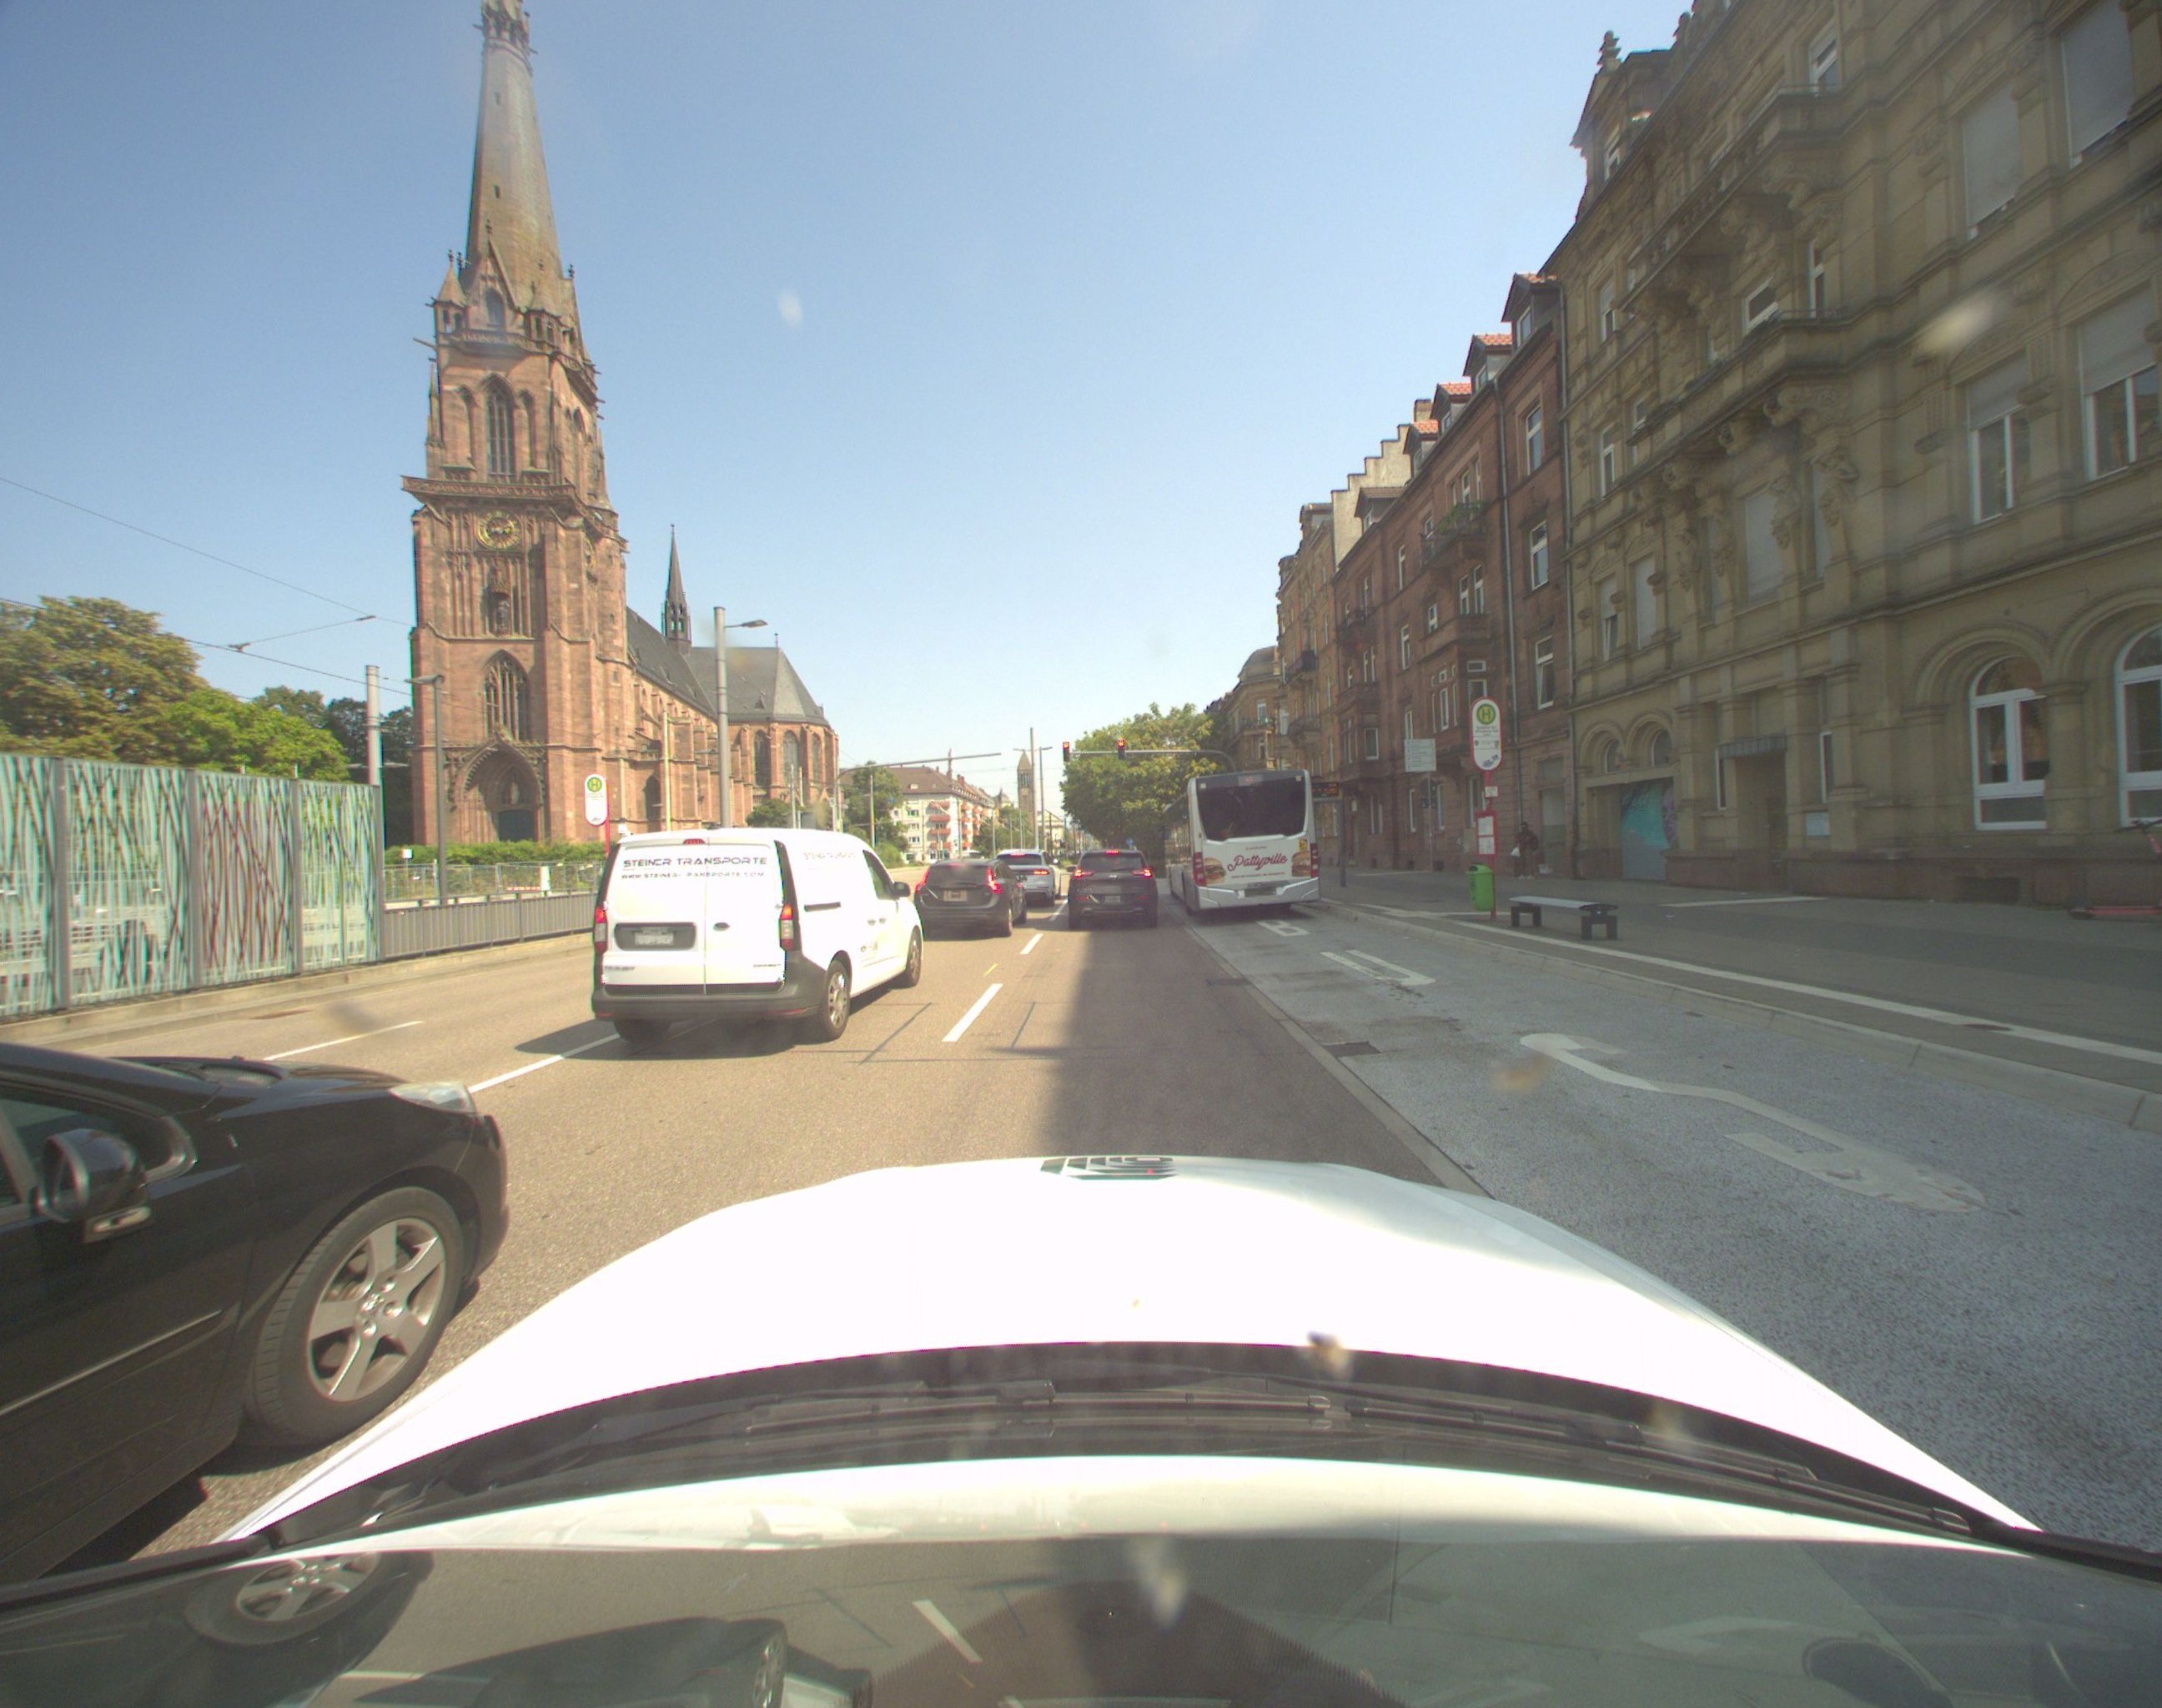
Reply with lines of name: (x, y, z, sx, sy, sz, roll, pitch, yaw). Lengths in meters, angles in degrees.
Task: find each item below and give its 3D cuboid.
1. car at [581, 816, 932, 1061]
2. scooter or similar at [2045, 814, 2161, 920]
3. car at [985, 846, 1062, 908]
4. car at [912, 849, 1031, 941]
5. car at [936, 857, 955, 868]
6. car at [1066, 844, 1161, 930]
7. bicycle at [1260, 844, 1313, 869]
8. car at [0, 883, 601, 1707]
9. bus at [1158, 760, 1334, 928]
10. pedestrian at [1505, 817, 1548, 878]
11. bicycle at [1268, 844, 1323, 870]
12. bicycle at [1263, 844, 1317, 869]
car: (-2.848, 0.637, 8.285, 1.741, 1.820, 4.240, -1, 0, 1)
scooter or similar: (12.580, 0.140, 9.821, 0.474, 1.212, 1.141, -2, 0, -3)
car: (-1.633, 0.621, 24.521, 1.895, 1.651, 4.309, -1, 0, 1)
car: (-2.088, 0.726, 16.714, 1.741, 1.614, 4.309, -1, 0, 1)
car: (-20.378, 1.324, 122.536, 1.739, 1.435, 4.576, -4, 0, 2)
car: (0.731, 0.641, 18.089, 1.825, 1.651, 4.311, -1, 0, 2)
bicycle: (12.494, 0.140, 49.650, 2.983, 1.371, 0.871, -3, 0, 0)
car: (-2.705, 0.833, 1.183, 1.682, 1.413, 3.802, -1, 0, 1)
bus: (3.822, -0.199, 22.070, 2.732, 3.106, 11.965, -5, 0, 3)
pedestrian: (13.430, -0.192, 24.555, 0.872, 1.778, 0.737, -2, 0, -26)
bicycle: (12.586, 0.154, 47.829, 2.983, 1.371, 0.871, -3, 0, 0)
bicycle: (12.513, 0.140, 48.737, 2.983, 1.371, 0.871, -3, 0, 0)
